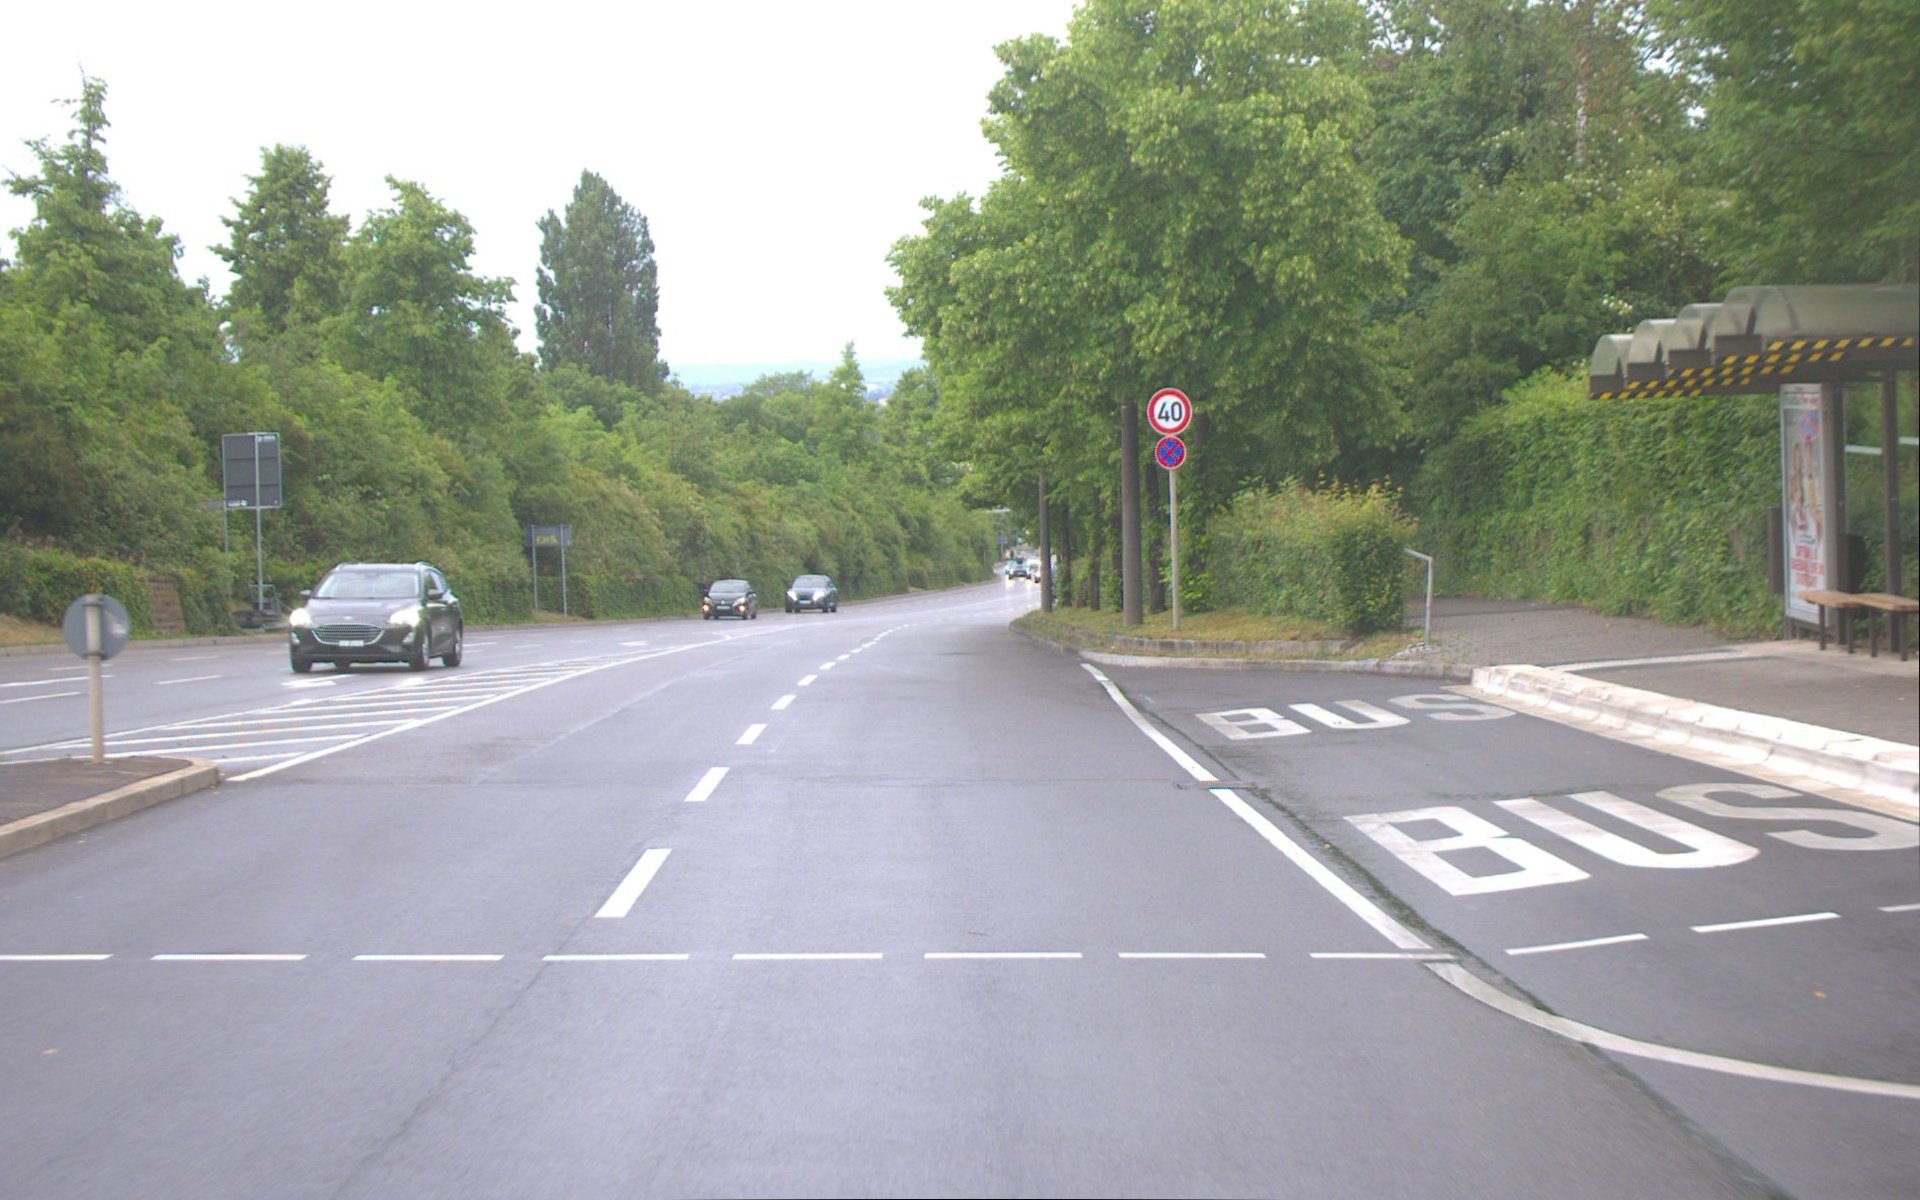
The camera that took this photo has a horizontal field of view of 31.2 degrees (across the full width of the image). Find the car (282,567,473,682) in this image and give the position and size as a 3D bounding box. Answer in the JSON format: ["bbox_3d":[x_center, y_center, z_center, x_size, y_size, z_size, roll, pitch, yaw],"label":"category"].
[{"bbox_3d":[-7.939,0.300,47.237,1.778,1.467,4.645,-1,1,1],"label":"car"}]

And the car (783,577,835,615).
[{"bbox_3d":[-6.586,-0.177,150.301,1.864,1.584,3.892,1,0,3],"label":"car"}]

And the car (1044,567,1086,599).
[{"bbox_3d":[5.614,-0.898,183.474,1.945,1.585,3.927,-1,2,6],"label":"car"}]

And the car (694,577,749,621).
[{"bbox_3d":[-8.908,-0.055,128.550,1.725,1.560,3.893,1,0,0],"label":"car"}]
